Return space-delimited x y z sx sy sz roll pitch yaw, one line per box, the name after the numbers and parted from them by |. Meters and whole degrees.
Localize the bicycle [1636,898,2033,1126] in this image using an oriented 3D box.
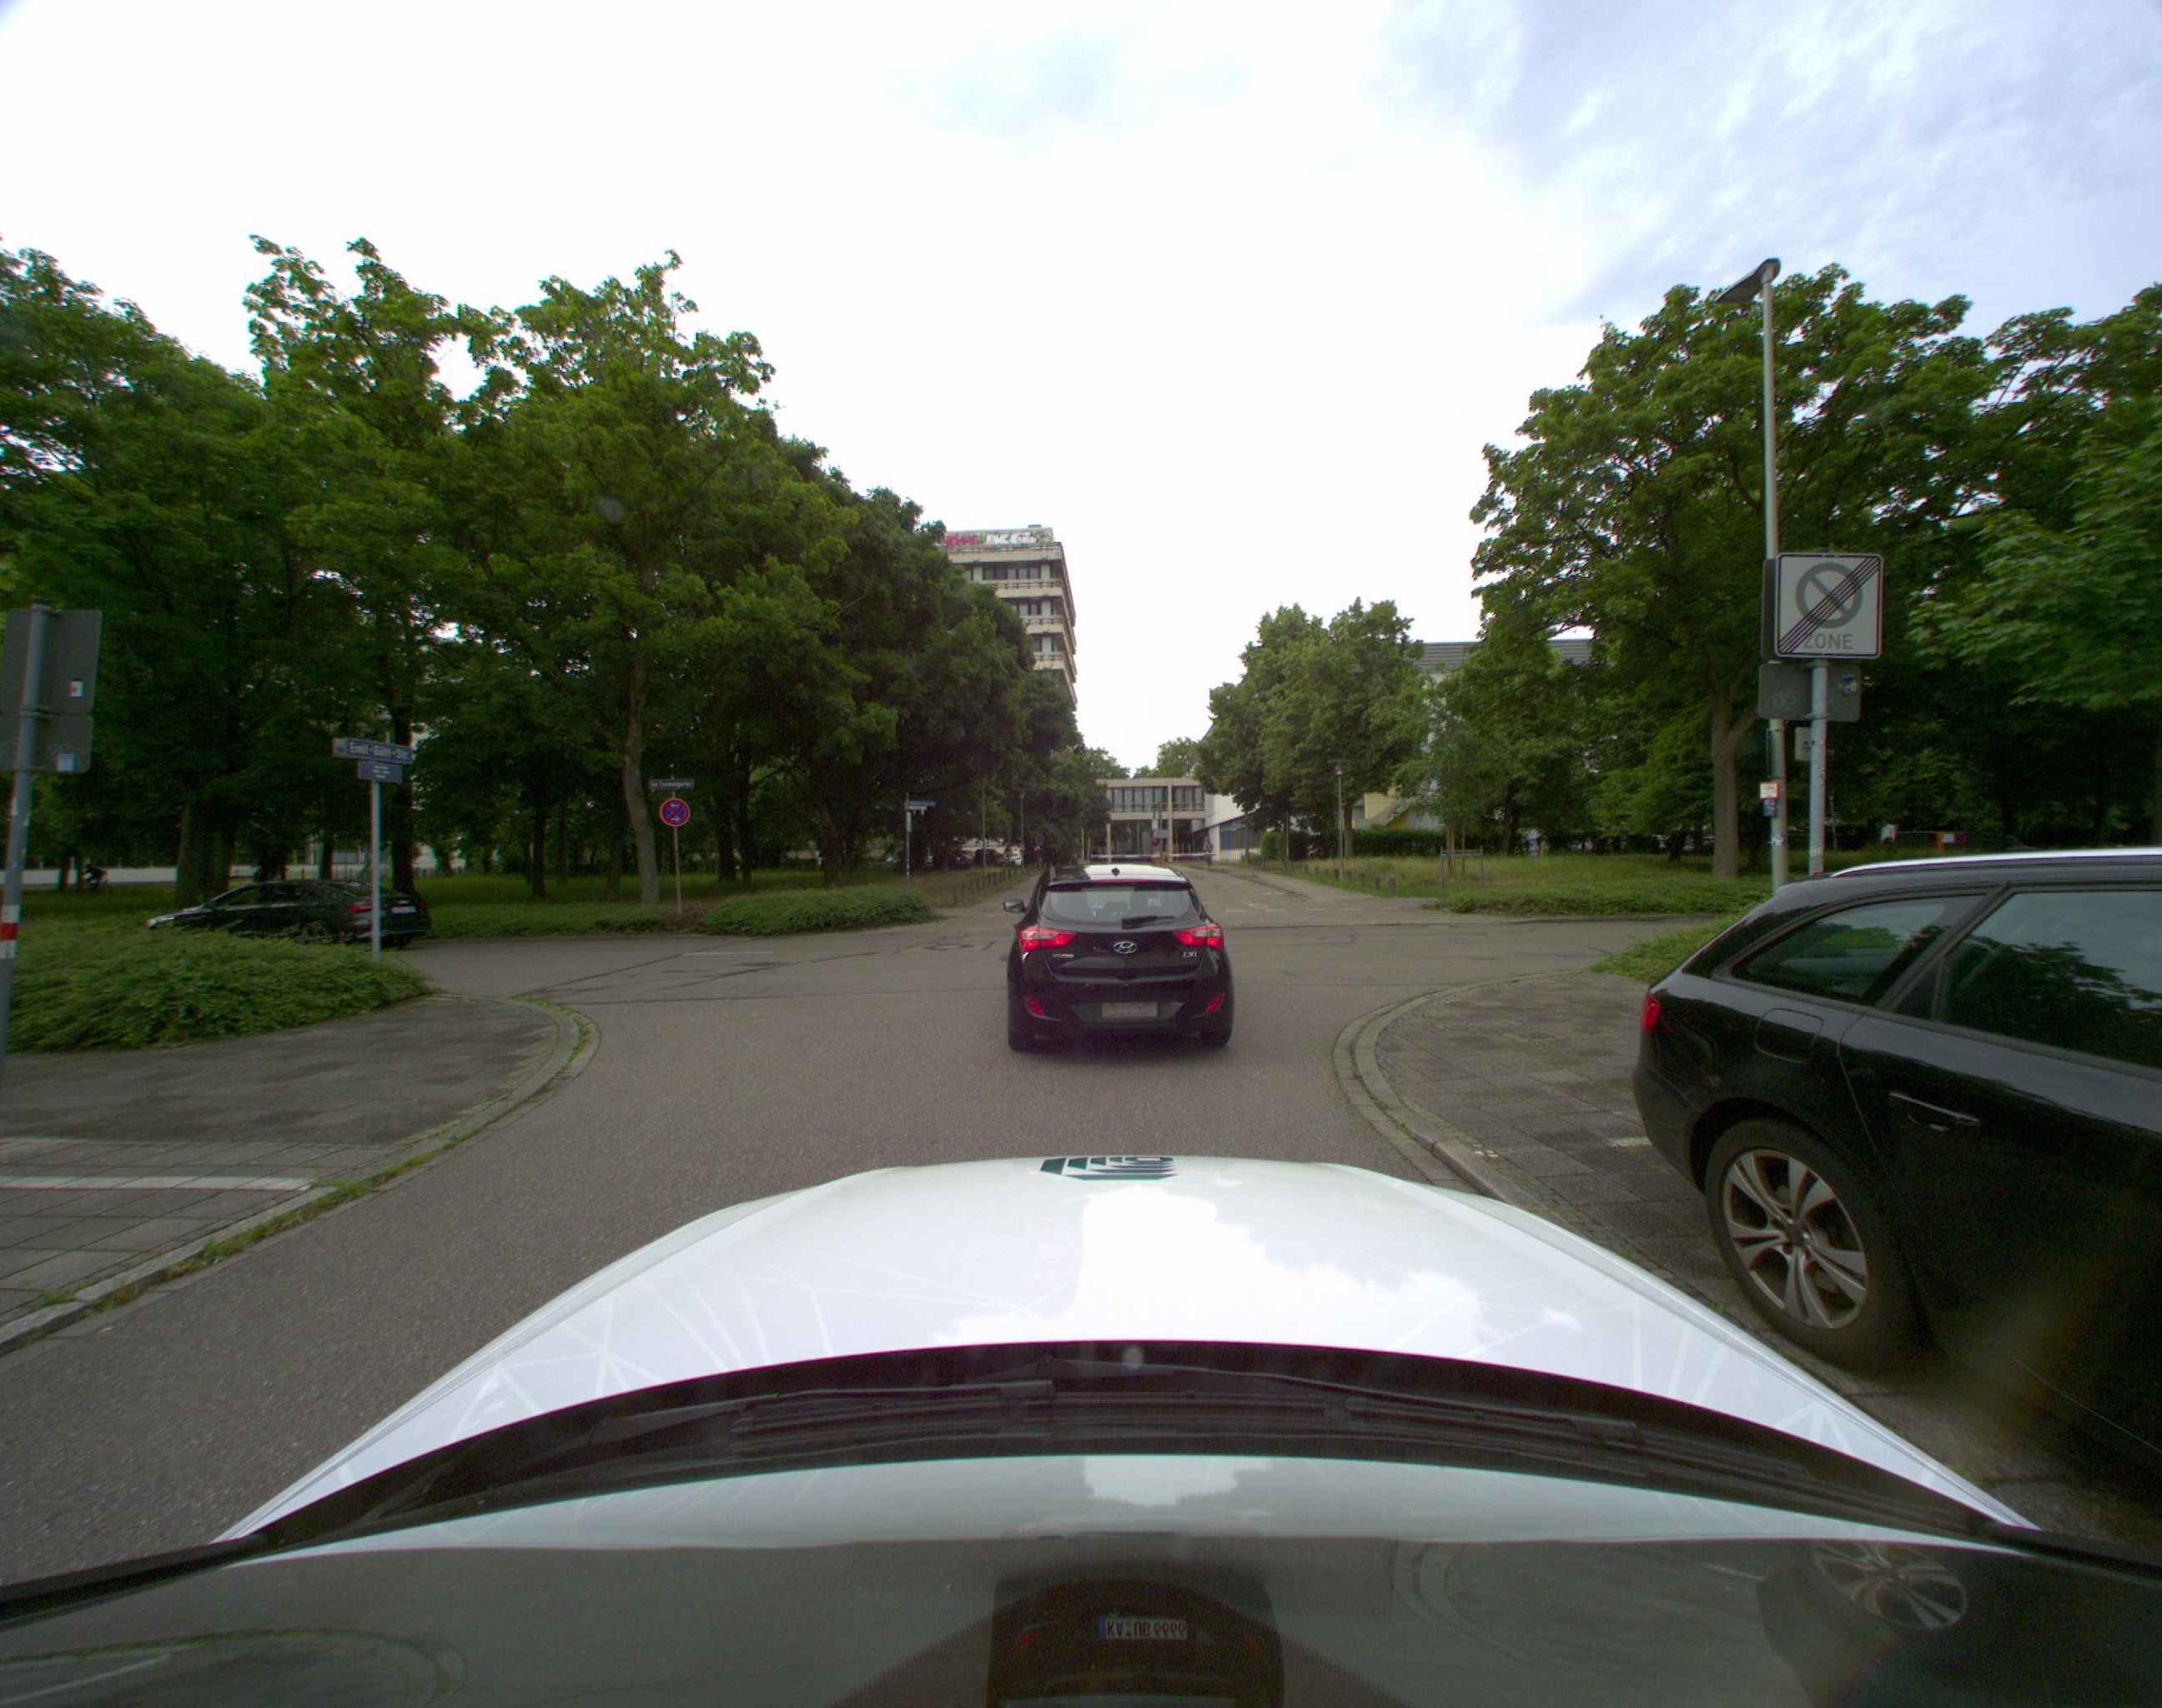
4.234 0.802 4.831 0.565 1.004 1.889 -3 -2 1 | bicycle

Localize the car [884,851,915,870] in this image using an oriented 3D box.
-16.256 0.548 72.933 1.989 1.618 3.996 -1 0 -2 | car

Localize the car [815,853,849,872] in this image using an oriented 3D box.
-22.414 0.743 73.408 1.913 1.618 3.996 -1 0 -2 | car

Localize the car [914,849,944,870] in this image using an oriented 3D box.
-13.547 0.503 72.816 1.989 1.728 3.996 -1 -2 -2 | car

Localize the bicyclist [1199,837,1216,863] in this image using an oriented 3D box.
8.359 -0.276 53.921 1.013 1.644 0.924 -1 0 2 | bicyclist

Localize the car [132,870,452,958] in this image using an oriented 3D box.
-14.610 1.082 15.280 4.091 1.463 1.869 -1 -2 -1 | car

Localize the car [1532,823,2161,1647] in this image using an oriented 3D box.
2.848 0.664 1.053 1.855 1.462 4.724 -2 0 -1 | car

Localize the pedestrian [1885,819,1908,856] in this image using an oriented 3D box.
39.650 -0.791 39.609 0.567 1.798 0.545 -1 1 11 | pedestrian

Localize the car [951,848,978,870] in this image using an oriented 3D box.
-10.443 0.458 73.089 1.989 1.794 3.996 -1 -2 -2 | car

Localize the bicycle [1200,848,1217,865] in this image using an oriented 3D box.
8.386 0.169 53.806 0.863 1.074 2.143 -1 1 3 | bicycle

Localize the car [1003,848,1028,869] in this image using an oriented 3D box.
-5.863 0.390 73.068 1.989 1.762 3.996 -1 -1 -2 | car

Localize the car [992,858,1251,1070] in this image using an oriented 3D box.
0.193 0.791 7.725 1.842 1.462 3.823 -1 0 -3 | car
